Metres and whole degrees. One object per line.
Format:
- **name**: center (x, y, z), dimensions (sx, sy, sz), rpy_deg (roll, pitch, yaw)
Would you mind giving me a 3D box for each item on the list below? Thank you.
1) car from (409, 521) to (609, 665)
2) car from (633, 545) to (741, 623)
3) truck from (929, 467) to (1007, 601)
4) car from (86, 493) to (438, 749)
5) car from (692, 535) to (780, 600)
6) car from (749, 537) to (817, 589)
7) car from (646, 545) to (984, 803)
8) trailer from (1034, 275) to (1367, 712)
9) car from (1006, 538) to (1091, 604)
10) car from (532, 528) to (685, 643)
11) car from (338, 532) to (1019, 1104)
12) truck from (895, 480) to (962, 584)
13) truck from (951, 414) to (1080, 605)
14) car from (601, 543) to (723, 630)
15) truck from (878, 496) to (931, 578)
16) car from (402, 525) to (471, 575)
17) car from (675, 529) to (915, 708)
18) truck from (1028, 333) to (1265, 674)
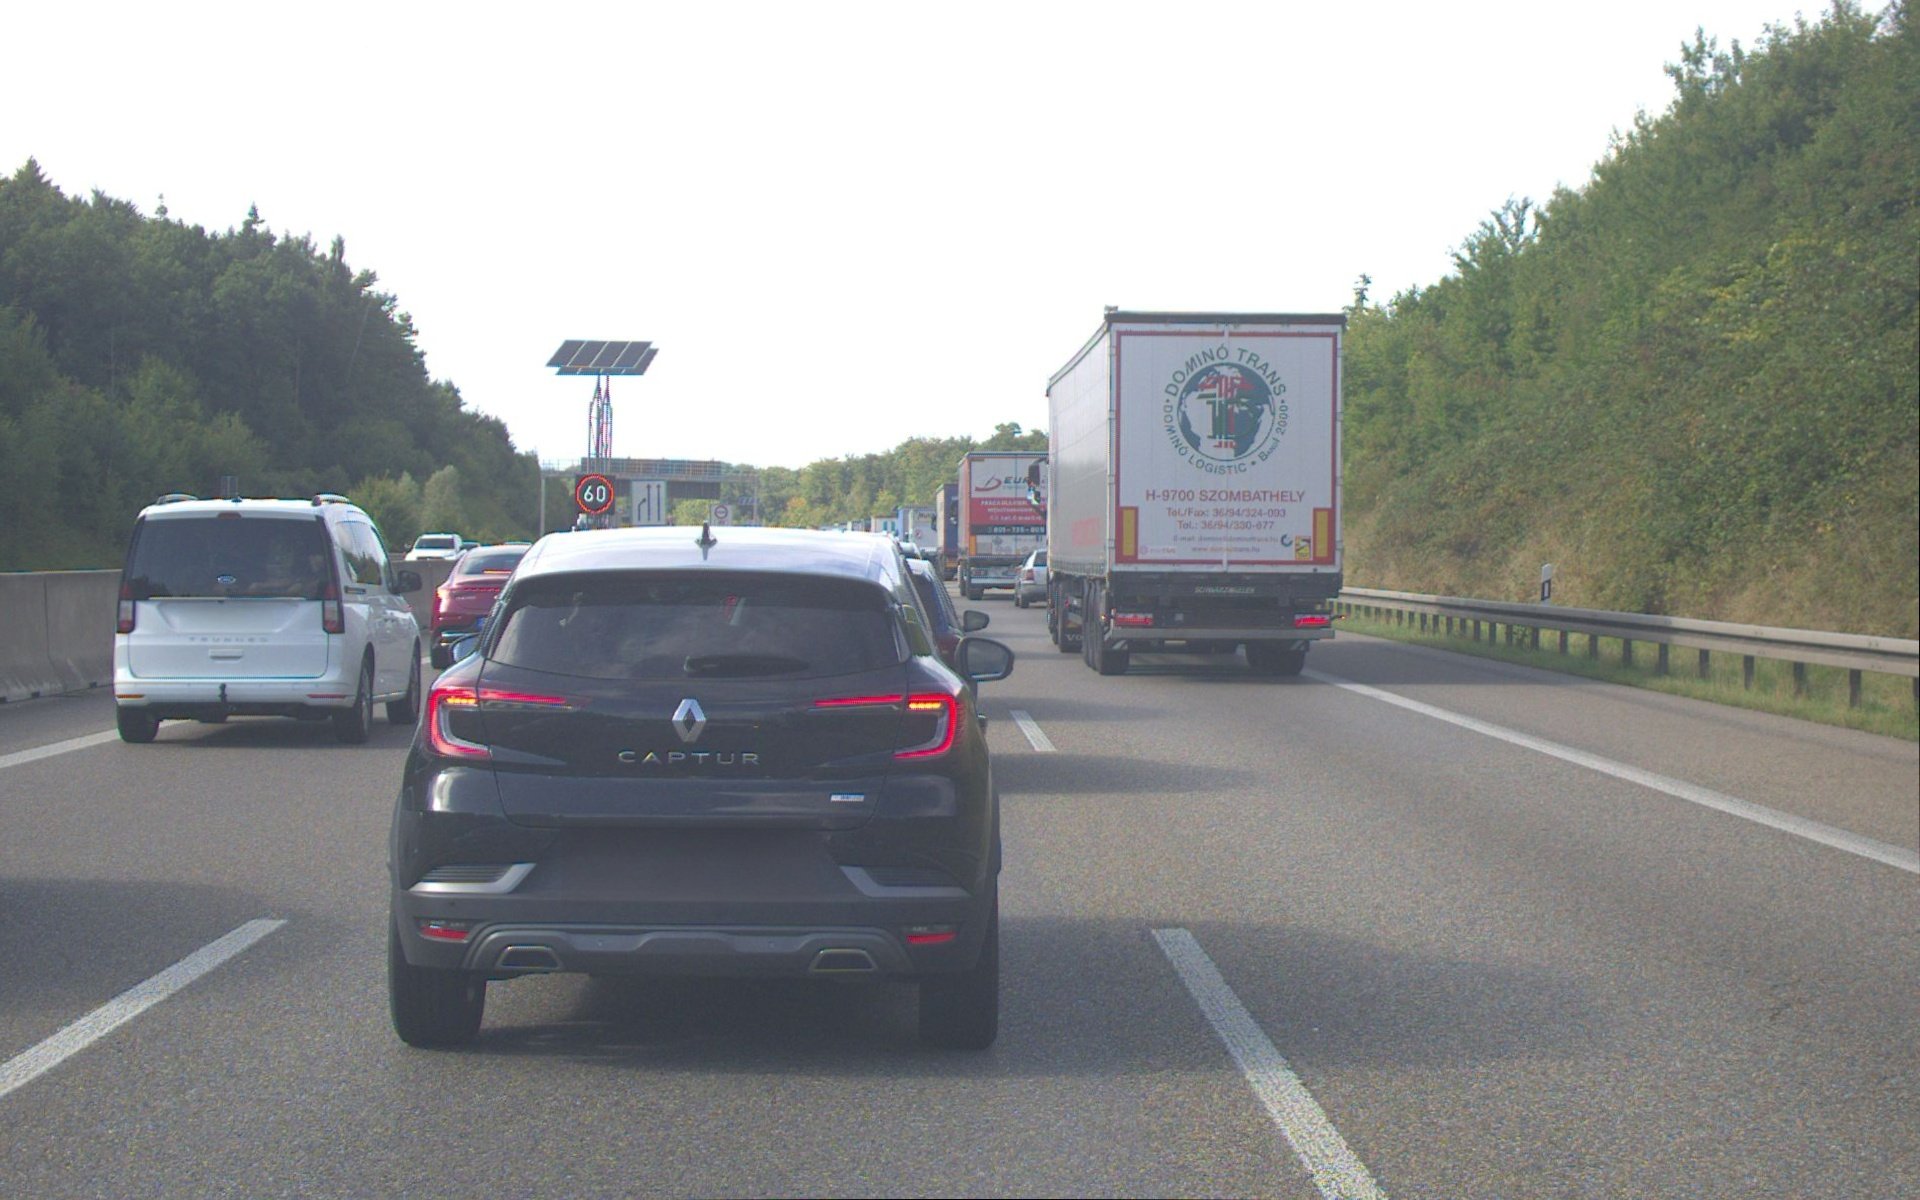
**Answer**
- **car**: center (-5.376, -0.096, 41.439), dimensions (1.855, 1.635, 3.926), rpy_deg (1, 0, 0)
- **car**: center (-5.835, -0.345, 73.793), dimensions (1.993, 1.607, 4.000), rpy_deg (1, 0, 0)
- **truck**: center (0.347, -2.790, 148.049), dimensions (3.166, 5.486, 12.737), rpy_deg (1, 0, 0)
- **car**: center (-5.265, 0.129, 26.500), dimensions (1.911, 1.783, 4.418), rpy_deg (1, 0, -2)
- **car**: center (-5.678, -0.845, 87.549), dimensions (1.993, 1.607, 4.000), rpy_deg (0, 1, 0)
- **car**: center (-5.654, -1.209, 110.295), dimensions (1.993, 1.607, 4.000), rpy_deg (0, 1, 0)
- **car**: center (-0.870, 0.422, 22.436), dimensions (1.993, 1.509, 4.000), rpy_deg (1, 0, 0)
- **trailer**: center (2.714, -1.259, 43.329), dimensions (3.002, 4.645, 13.291), rpy_deg (0, 1, -1)
- **car**: center (2.101, -0.698, 82.099), dimensions (1.804, 1.527, 3.926), rpy_deg (1, 0, -2)
- **car**: center (-5.493, -0.242, 54.114), dimensions (1.993, 1.716, 4.000), rpy_deg (1, 0, 0)
- **car**: center (-0.735, 0.562, 11.344), dimensions (1.805, 1.547, 4.000), rpy_deg (0, 1, 2)
- **truck**: center (-1.664, -3.661, 188.807), dimensions (3.167, 5.486, 12.737), rpy_deg (1, 0, 2)
- **truck**: center (1.487, -2.448, 97.589), dimensions (3.365, 5.027, 12.737), rpy_deg (1, 0, 0)
- **car**: center (-5.711, -0.275, 66.258), dimensions (1.993, 1.607, 4.000), rpy_deg (1, 0, 0)
- **truck**: center (-3.592, -4.070, 224.029), dimensions (3.166, 5.142, 12.737), rpy_deg (1, 0, 0)
- **car**: center (-19.290, -1.857, 126.795), dimensions (1.852, 1.803, 4.925), rpy_deg (1, 1, -1)
- **car**: center (-1.439, 0.139, 31.423), dimensions (1.993, 1.509, 4.000), rpy_deg (1, 0, 0)
- **truck**: center (2.605, -1.377, 50.032), dimensions (2.997, 4.651, 5.940), rpy_deg (0, 1, -1)
